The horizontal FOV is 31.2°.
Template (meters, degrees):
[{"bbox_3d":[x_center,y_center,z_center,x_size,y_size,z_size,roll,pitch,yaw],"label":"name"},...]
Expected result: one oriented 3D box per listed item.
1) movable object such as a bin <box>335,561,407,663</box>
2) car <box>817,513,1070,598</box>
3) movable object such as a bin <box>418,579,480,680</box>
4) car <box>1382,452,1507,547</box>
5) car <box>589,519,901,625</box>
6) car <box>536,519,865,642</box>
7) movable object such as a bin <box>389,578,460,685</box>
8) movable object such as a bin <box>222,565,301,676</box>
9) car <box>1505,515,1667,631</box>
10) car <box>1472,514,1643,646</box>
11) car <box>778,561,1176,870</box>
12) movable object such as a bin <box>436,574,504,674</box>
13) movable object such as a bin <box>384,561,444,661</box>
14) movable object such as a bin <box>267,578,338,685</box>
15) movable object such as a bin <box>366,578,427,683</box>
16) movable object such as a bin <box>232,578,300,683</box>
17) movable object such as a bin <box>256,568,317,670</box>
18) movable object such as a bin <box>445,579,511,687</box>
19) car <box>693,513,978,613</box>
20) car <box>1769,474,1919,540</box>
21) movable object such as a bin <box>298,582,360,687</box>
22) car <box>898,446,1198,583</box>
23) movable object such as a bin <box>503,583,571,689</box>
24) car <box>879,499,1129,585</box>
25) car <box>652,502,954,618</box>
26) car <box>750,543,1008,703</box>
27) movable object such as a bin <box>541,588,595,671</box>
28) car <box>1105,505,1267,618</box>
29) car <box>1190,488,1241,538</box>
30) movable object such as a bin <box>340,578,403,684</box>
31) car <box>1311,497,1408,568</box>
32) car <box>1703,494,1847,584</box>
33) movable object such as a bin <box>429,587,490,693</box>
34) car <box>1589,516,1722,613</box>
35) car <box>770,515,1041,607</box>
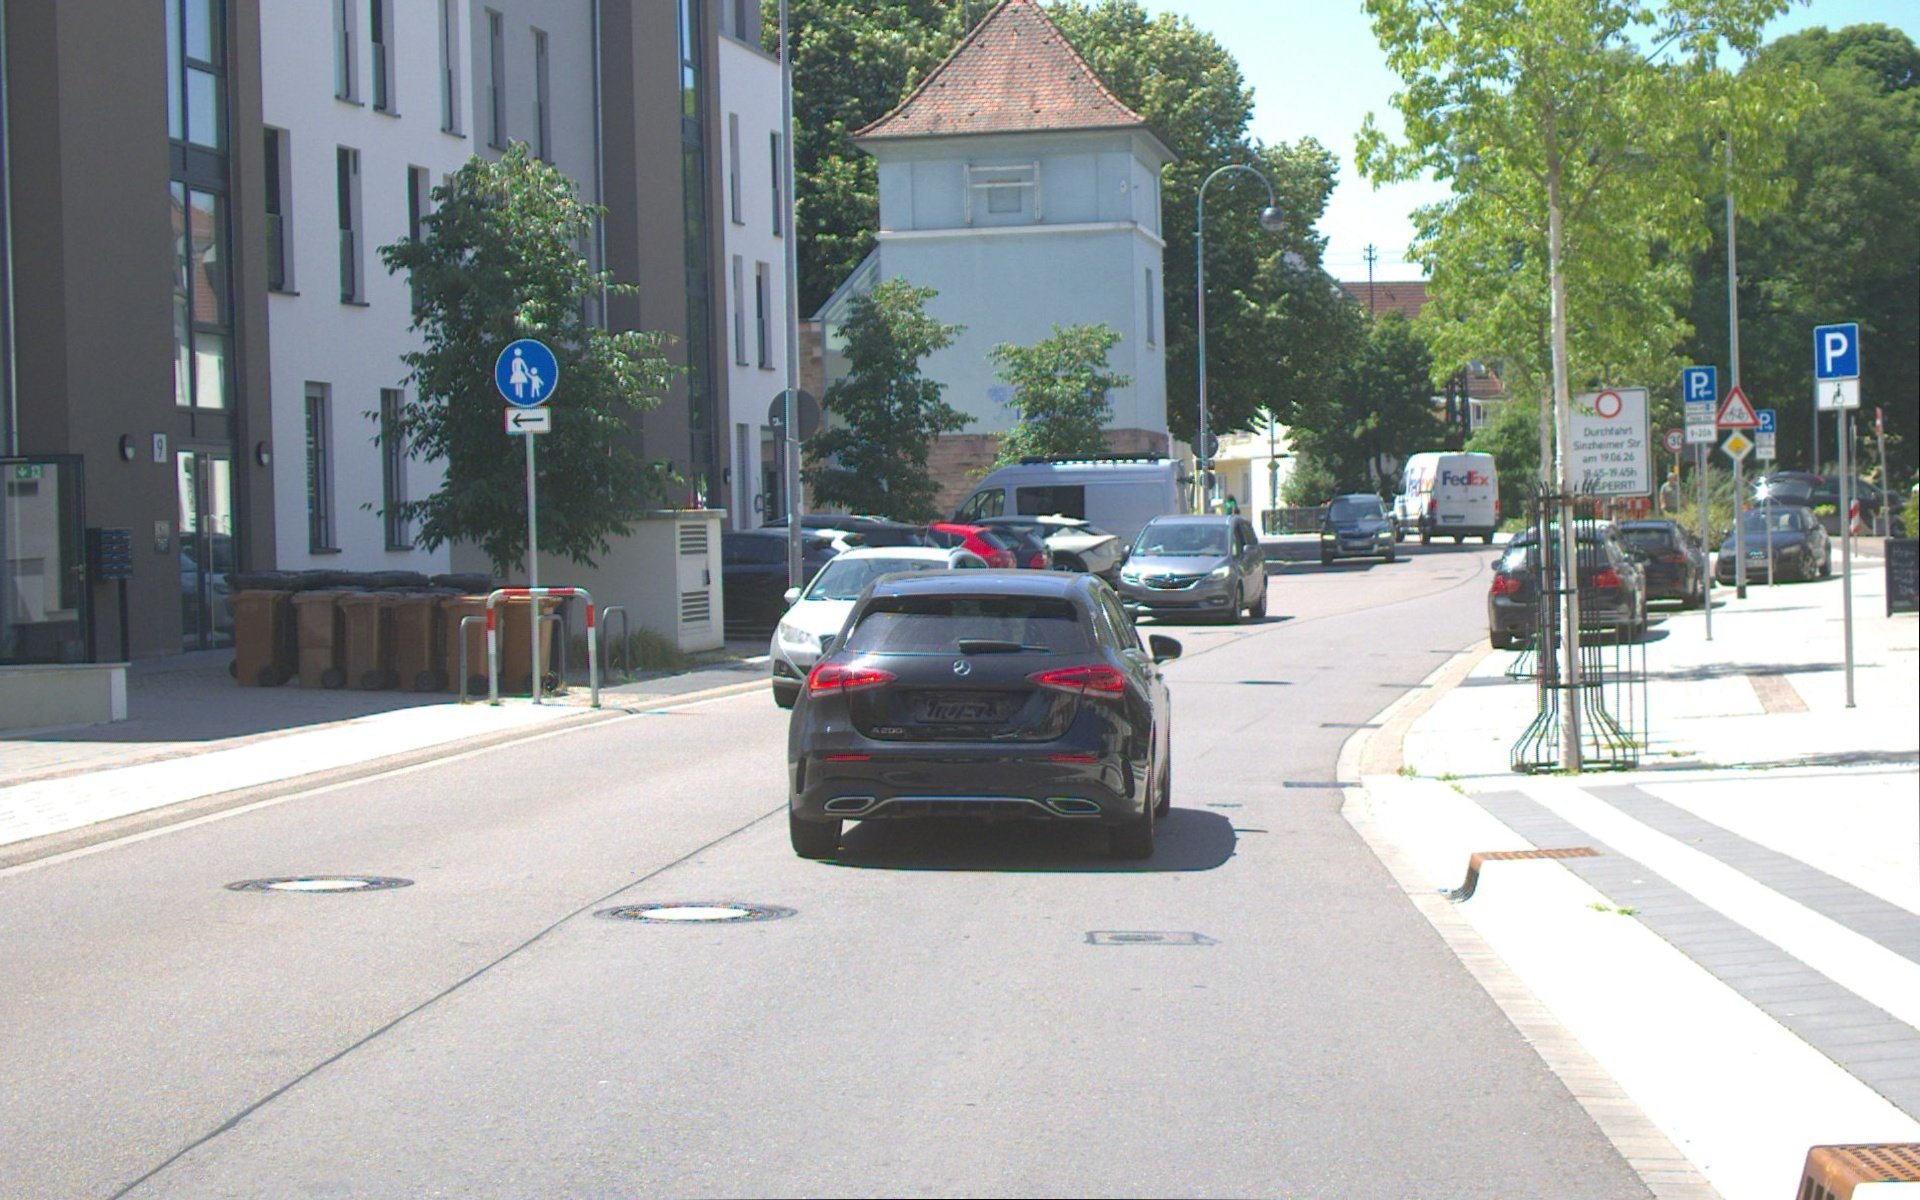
[{"bbox_3d":[-6.122,0.118,35.744,0.675,1.035,0.605,-1,1,-6],"label":"movable object such as a bin"},{"bbox_3d":[-0.270,-0.788,60.008,4.201,1.432,1.885,0,2,8],"label":"car"},{"bbox_3d":[-5.171,0.298,34.813,0.554,0.994,0.404,-2,1,-2],"label":"movable object such as a bin"},{"bbox_3d":[13.732,-2.823,97.739,2.127,2.621,5.279,0,1,-8],"label":"car"},{"bbox_3d":[-2.992,-0.406,48.147,3.989,1.416,1.909,1,2,12],"label":"car"},{"bbox_3d":[-3.438,-0.286,45.971,3.989,1.510,1.999,0,4,11],"label":"car"},{"bbox_3d":[-5.104,0.301,32.810,0.483,0.994,0.587,-1,1,11],"label":"movable object such as a bin"},{"bbox_3d":[-7.080,0.201,34.866,0.692,1.092,0.648,-1,1,-6],"label":"movable object such as a bin"},{"bbox_3d":[8.983,-0.414,49.103,1.739,1.481,4.051,-3,1,17],"label":"car"},{"bbox_3d":[7.542,-0.271,43.136,1.833,1.477,4.093,-3,0,13],"label":"car"},{"bbox_3d":[0.200,0.522,18.123,1.828,1.437,4.000,0,1,4],"label":"car"},{"bbox_3d":[-5.075,0.246,35.639,0.554,1.016,0.560,-1,1,7],"label":"movable object such as a bin"},{"bbox_3d":[-5.773,0.111,36.396,0.575,1.035,0.550,-1,1,-6],"label":"movable object such as a bin"},{"bbox_3d":[-6.253,0.294,32.705,0.483,0.994,0.526,-1,1,11],"label":"movable object such as a bin"},{"bbox_3d":[-5.482,0.295,33.470,0.403,0.994,0.555,-1,1,10],"label":"movable object such as a bin"},{"bbox_3d":[-6.739,0.292,33.404,0.483,0.994,0.588,-1,1,4],"label":"movable object such as a bin"},{"bbox_3d":[-7.025,0.194,35.867,0.554,1.035,0.482,-1,1,-6],"label":"movable object such as a bin"},{"bbox_3d":[-4.573,0.309,32.634,0.483,0.994,0.588,-1,1,4],"label":"movable object such as a bin"},{"bbox_3d":[-1.910,-0.595,53.364,4.035,1.491,1.999,1,2,14],"label":"car"},{"bbox_3d":[23.480,-2.460,90.615,4.077,1.710,1.855,0,2,10],"label":"car"},{"bbox_3d":[-6.102,0.331,33.263,0.403,0.994,0.555,-1,1,10],"label":"movable object such as a bin"},{"bbox_3d":[1.818,-1.754,70.144,5.770,2.723,2.290,1,2,13],"label":"car"},{"bbox_3d":[-4.089,0.343,33.268,0.483,0.994,0.588,-1,1,10],"label":"movable object such as a bin"},{"bbox_3d":[0.857,-1.115,65.471,4.456,1.585,1.999,0,2,12],"label":"car"},{"bbox_3d":[-2.284,-0.613,50.570,4.035,1.645,1.999,1,2,14],"label":"car"},{"bbox_3d":[-0.695,0.177,32.270,1.668,1.391,3.846,0,1,10],"label":"car"},{"bbox_3d":[-4.175,0.311,36.645,0.554,0.865,0.482,-1,1,-6],"label":"movable object such as a bin"},{"bbox_3d":[3.486,-0.602,52.428,1.943,1.652,4.234,0,1,11],"label":"car"},{"bbox_3d":[10.399,-3.530,140.224,1.994,2.007,4.000,1,1,3],"label":"car"},{"bbox_3d":[-5.634,0.294,32.925,0.425,0.994,0.523,-1,1,11],"label":"movable object such as a bin"},{"bbox_3d":[9.831,-1.656,84.415,1.812,1.695,4.073,0,1,15],"label":"car"},{"bbox_3d":[15.620,-1.191,65.778,1.874,1.486,3.857,-2,3,25],"label":"car"},{"bbox_3d":[-4.840,0.381,33.254,0.403,0.994,0.555,-1,1,10],"label":"movable object such as a bin"},{"bbox_3d":[11.198,-0.603,55.188,1.725,1.400,4.606,-2,1,16],"label":"car"},{"bbox_3d":[-0.868,-0.653,56.009,4.035,1.425,1.999,1,2,14],"label":"car"}]
